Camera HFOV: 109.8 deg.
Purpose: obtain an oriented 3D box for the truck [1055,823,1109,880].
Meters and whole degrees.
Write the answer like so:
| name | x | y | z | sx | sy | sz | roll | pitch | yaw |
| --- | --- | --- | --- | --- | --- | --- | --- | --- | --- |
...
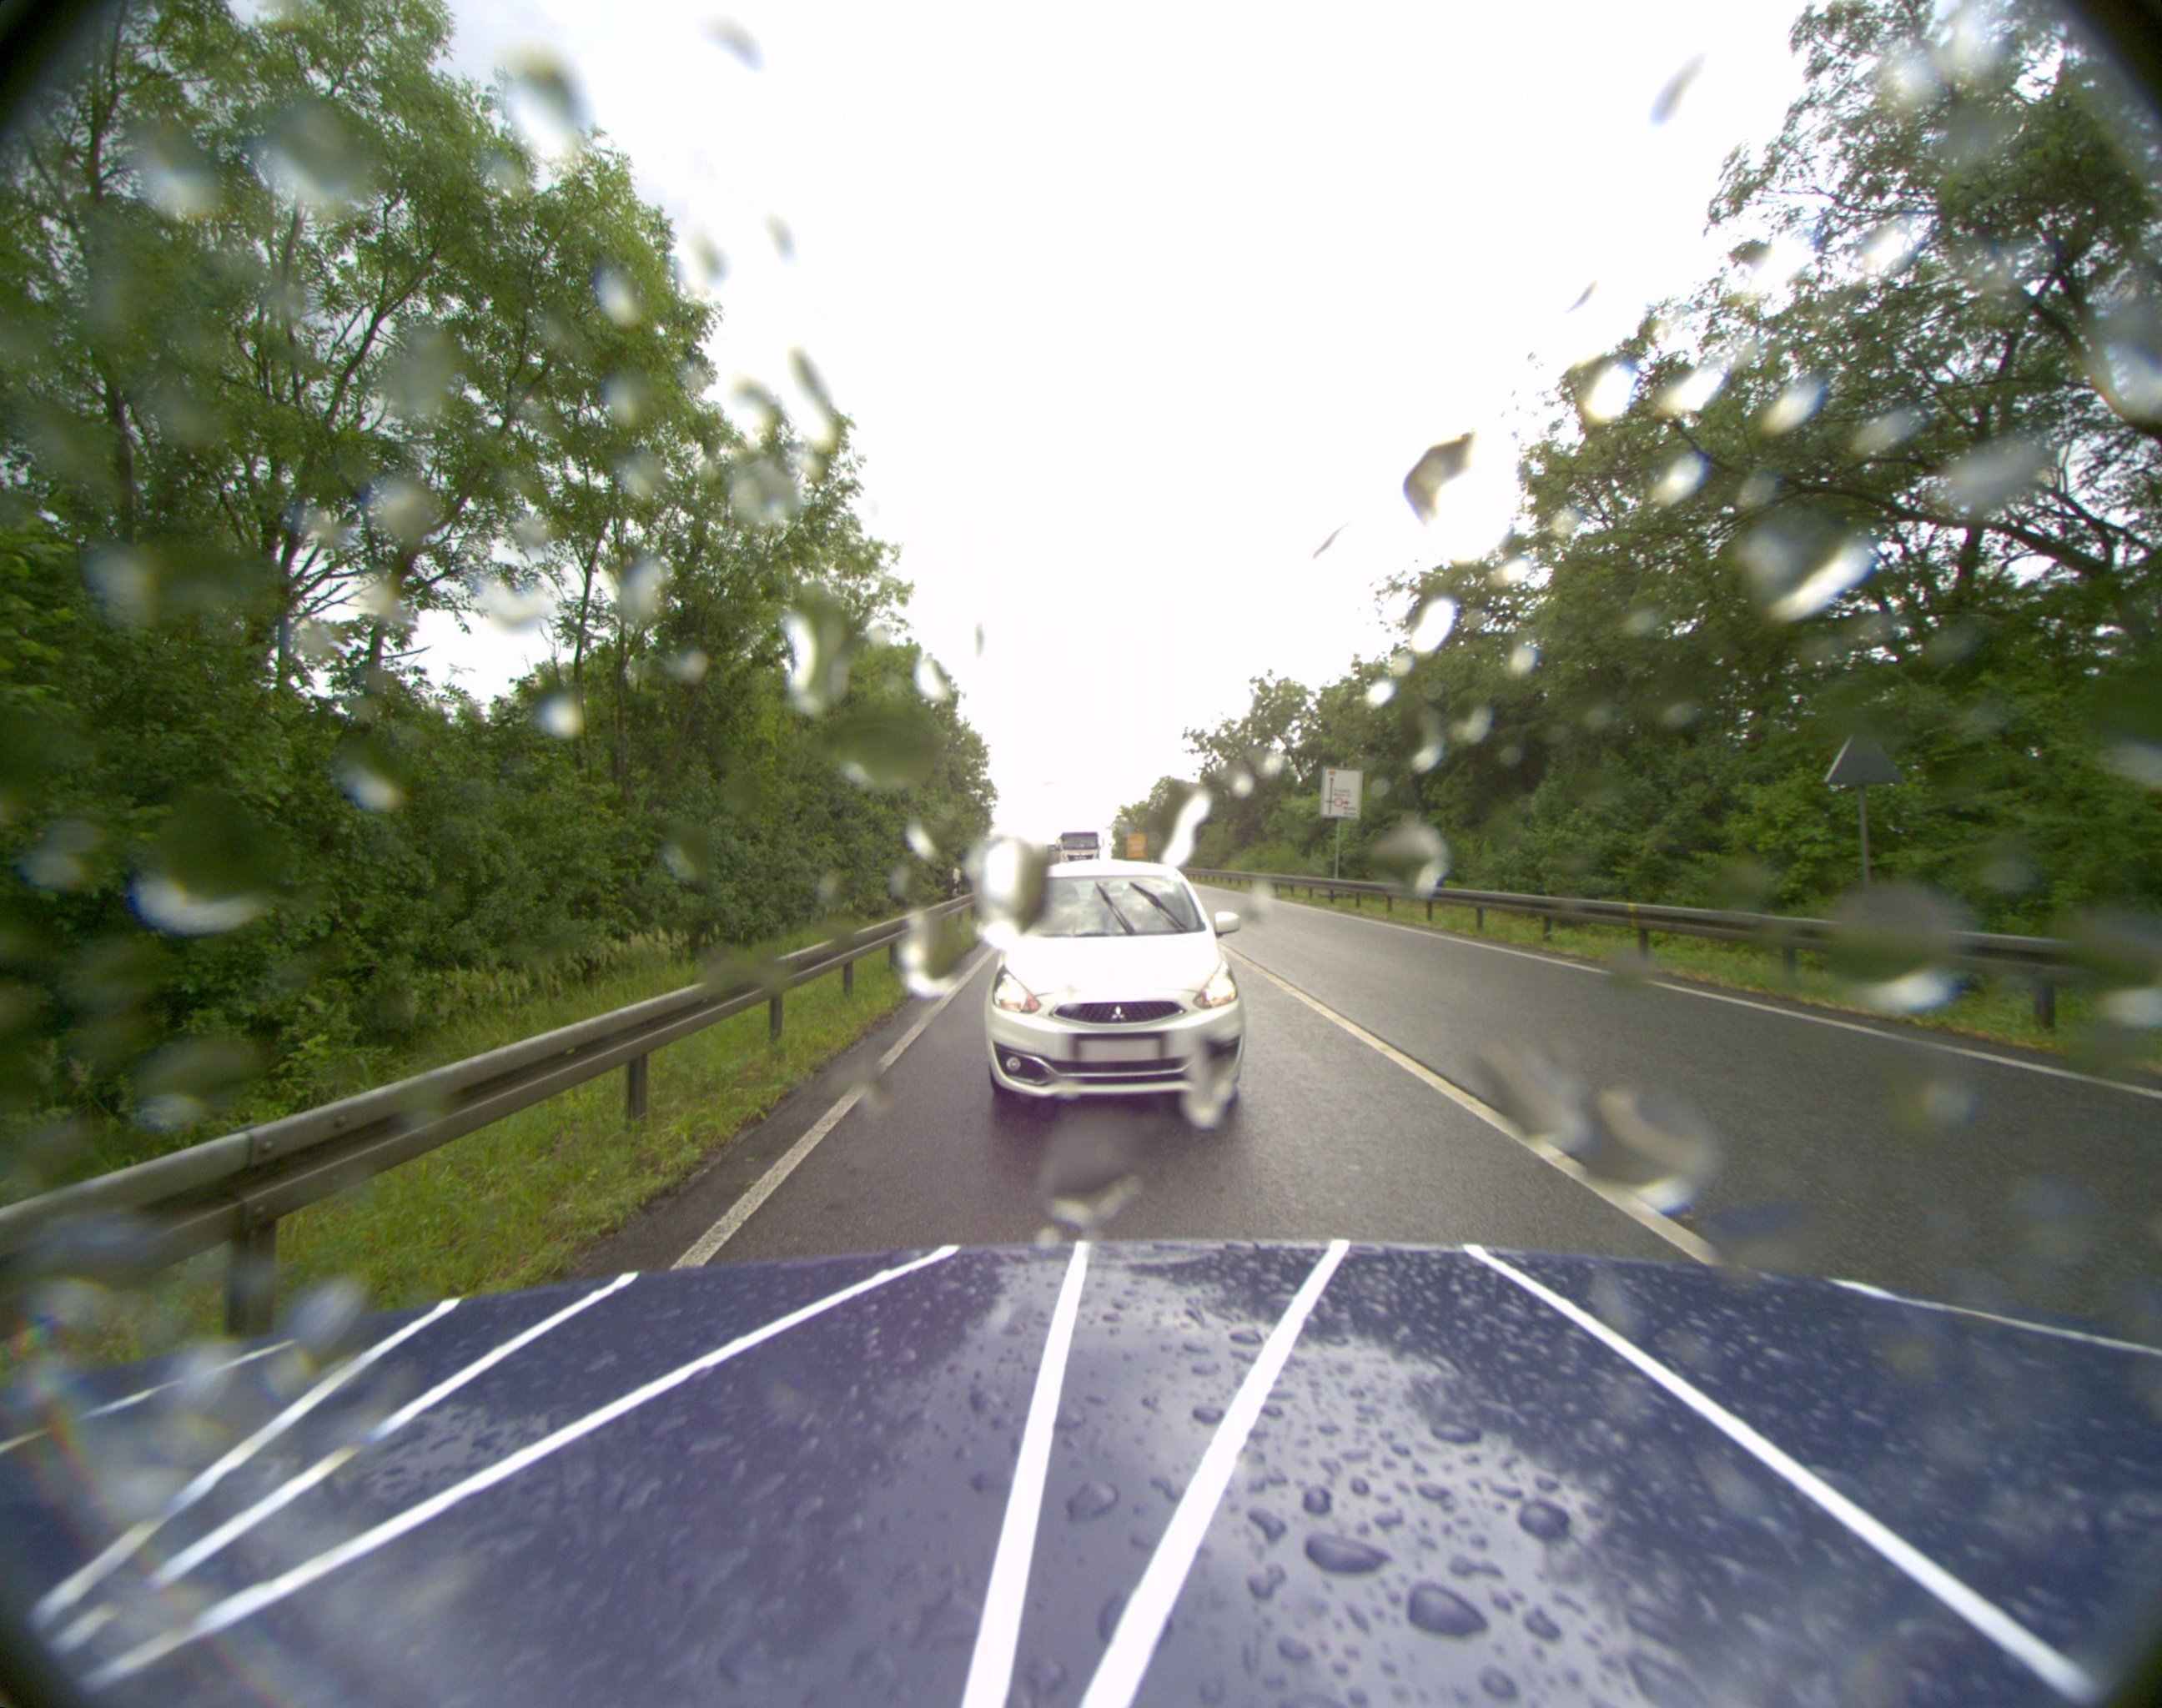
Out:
| name | x | y | z | sx | sy | sz | roll | pitch | yaw |
| --- | --- | --- | --- | --- | --- | --- | --- | --- | --- |
| truck | -0.050 | -0.192 | 50.690 | 3.136 | 3.364 | 9.280 | -2 | 1 | -2 |

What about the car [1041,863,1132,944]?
| name | x | y | z | sx | sy | sz | roll | pitch | yaw |
| --- | --- | --- | --- | --- | --- | --- | --- | --- | --- |
| car | 0.150 | 0.940 | 16.282 | 1.640 | 1.413 | 4.492 | -2 | 0 | 1 |

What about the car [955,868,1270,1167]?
| name | x | y | z | sx | sy | sz | roll | pitch | yaw |
| --- | --- | --- | --- | --- | --- | --- | --- | --- | --- |
| car | 0.183 | 0.904 | 6.118 | 1.610 | 1.435 | 4.209 | -2 | 0 | 0 |

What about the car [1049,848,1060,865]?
| name | x | y | z | sx | sy | sz | roll | pitch | yaw |
| --- | --- | --- | --- | --- | --- | --- | --- | --- | --- |
| car | -3.931 | 0.329 | 112.964 | 1.613 | 2.422 | 3.999 | -2 | 1 | -2 |
